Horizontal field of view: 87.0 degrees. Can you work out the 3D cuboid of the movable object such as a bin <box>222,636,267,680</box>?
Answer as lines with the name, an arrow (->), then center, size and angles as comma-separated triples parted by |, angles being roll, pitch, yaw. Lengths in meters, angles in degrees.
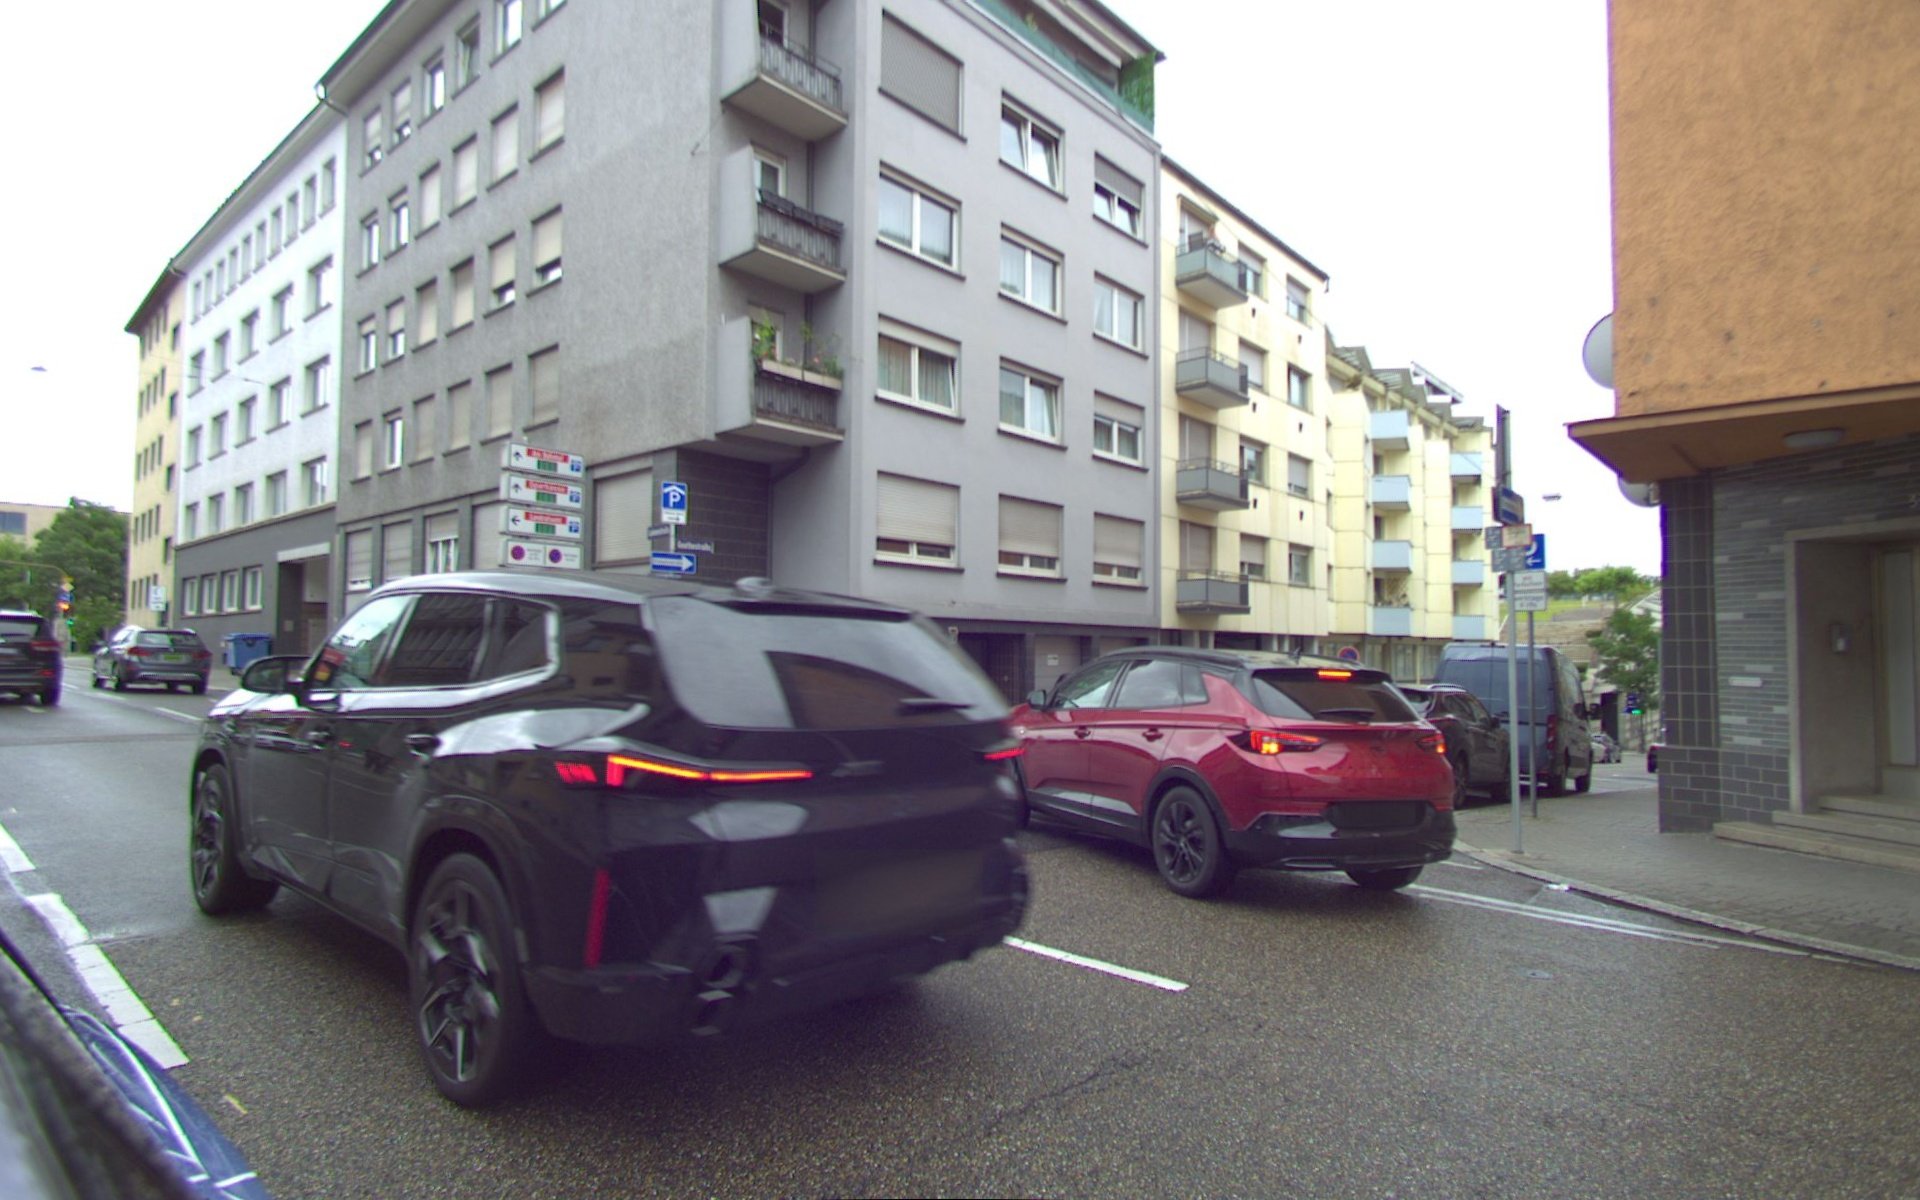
movable object such as a bin -> -22.898, 1.836, 32.386 | 1.096, 1.343, 0.933 | -1, 0, 41

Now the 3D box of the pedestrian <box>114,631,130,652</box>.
pedestrian -> -46.351, 2.299, 55.963 | 0.407, 1.158, 0.575 | -2, -6, 42

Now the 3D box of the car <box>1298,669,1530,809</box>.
car -> 6.450, 1.941, 14.127 | 1.842, 1.589, 4.098 | -1, -8, 41

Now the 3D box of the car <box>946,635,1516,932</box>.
car -> 1.679, 1.125, 7.817 | 1.772, 1.596, 4.329 | 4, -4, -27

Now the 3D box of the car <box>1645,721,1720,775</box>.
car -> 25.951, 5.327, 36.300 | 1.817, 1.688, 3.998 | -1, -8, 41

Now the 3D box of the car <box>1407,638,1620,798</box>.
car -> 10.445, 2.200, 18.804 | 2.249, 2.481, 5.975 | -1, -7, 41

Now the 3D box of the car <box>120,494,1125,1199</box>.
car -> -1.889, 0.736, 4.594 | 4.815, 1.734, 2.104 | -1, -5, 41

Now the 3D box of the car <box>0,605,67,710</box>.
car -> -17.741, 0.981, 18.196 | 4.471, 1.740, 1.817 | -1, -5, 41

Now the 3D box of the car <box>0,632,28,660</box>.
car -> -53.385, 2.472, 54.896 | 1.738, 1.519, 3.944 | -1, -3, 42

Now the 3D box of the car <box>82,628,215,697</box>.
car -> -19.701, 1.483, 24.518 | 4.157, 1.519, 1.685 | -1, -5, 41
